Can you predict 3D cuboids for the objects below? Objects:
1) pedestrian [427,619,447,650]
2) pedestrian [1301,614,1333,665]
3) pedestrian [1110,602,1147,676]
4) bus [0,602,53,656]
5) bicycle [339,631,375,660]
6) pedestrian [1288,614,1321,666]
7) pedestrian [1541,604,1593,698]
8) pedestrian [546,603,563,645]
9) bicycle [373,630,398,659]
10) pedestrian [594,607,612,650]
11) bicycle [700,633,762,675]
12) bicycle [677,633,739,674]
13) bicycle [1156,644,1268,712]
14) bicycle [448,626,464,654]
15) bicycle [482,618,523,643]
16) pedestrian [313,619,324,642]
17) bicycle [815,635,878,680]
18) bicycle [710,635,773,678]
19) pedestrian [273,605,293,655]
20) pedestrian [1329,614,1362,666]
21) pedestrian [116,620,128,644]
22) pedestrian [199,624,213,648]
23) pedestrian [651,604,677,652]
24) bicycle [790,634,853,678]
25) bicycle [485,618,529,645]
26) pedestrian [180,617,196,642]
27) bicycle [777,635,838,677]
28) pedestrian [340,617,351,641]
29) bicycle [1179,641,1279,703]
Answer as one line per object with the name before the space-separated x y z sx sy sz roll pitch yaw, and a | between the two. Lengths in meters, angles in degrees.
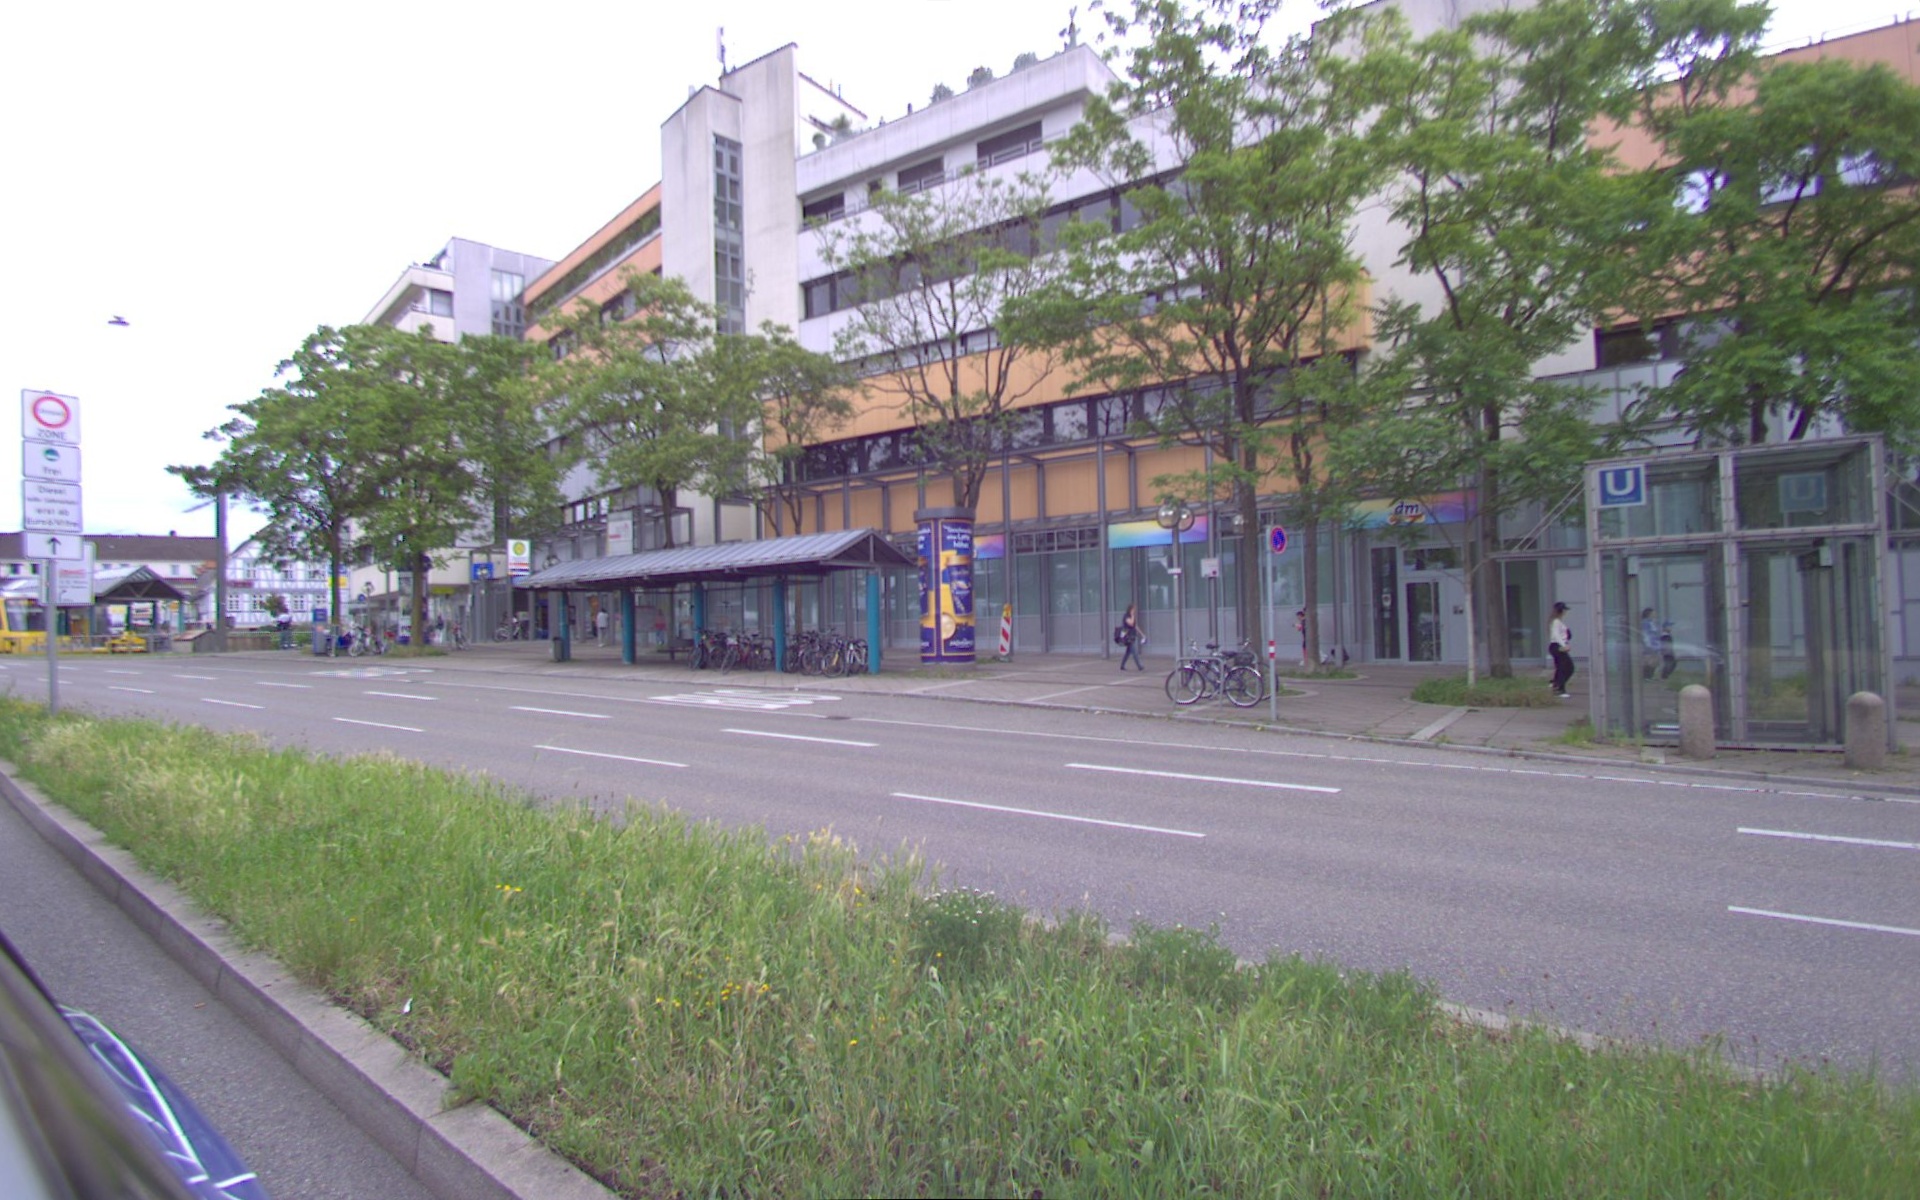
pedestrian | -28.955 1.885 56.053 0.752 1.695 0.755 -1 -2 41
pedestrian | 9.764 1.067 27.695 0.694 1.385 0.578 -1 -2 34
pedestrian | 4.201 0.964 25.291 0.769 1.800 0.525 -1 -2 33
bus | -55.993 1.680 58.611 8.470 3.006 2.530 -1 -2 29
bicycle | -23.624 1.762 39.650 0.585 1.085 2.042 0 -1 -12
pedestrian | 9.262 1.074 27.226 0.694 1.385 0.578 -1 -2 34
pedestrian | 11.083 0.913 18.487 0.721 1.662 0.669 -1 -1 37
pedestrian | -19.665 1.144 49.033 0.558 2.029 0.611 1 -2 -44
bicycle | -22.757 1.749 40.108 0.584 1.085 2.044 0 -1 -21
pedestrian | -15.483 1.238 43.906 0.639 1.823 0.761 0 -2 -16
bicycle | -6.464 1.508 28.584 0.549 1.048 1.714 -2 1 38
bicycle | -7.242 1.531 29.149 0.549 1.048 1.714 -2 0 38
bicycle | 4.360 1.321 17.600 0.802 1.068 1.739 0 -1 -40
bicycle | -21.362 1.703 42.928 0.584 1.134 2.044 1 -1 -26
bicycle | -26.108 1.730 57.765 2.106 1.377 0.621 -1 0 -24
pedestrian | -42.662 2.001 67.300 0.548 1.506 0.454 1 -2 -41
bicycle | -2.913 1.470 26.061 0.549 1.048 1.714 -2 0 38
bicycle | -5.969 1.526 27.722 0.549 1.048 1.714 -2 1 38
pedestrian | -31.850 1.412 47.619 0.608 2.325 0.583 -1 -2 39
pedestrian | 10.336 1.060 27.139 0.694 1.385 0.578 -1 -2 34
pedestrian | -70.276 2.676 84.879 0.731 2.029 0.940 1 -2 -39
pedestrian | -50.069 2.387 67.223 0.581 1.554 0.570 -1 -2 32
pedestrian | -12.547 1.172 42.850 0.793 2.029 0.702 -1 0 36
bicycle | -3.622 1.454 26.594 0.549 1.048 1.714 -2 0 38
bicycle | -24.959 1.720 55.787 2.107 1.385 0.621 -1 0 -31
pedestrian | -62.600 2.376 82.037 0.867 2.029 1.010 1 -2 -44
bicycle | -4.147 1.511 27.561 0.549 1.048 1.714 -2 -1 38
pedestrian | -31.039 1.461 51.086 0.368 1.188 0.338 -1 -2 31
bicycle | 4.976 1.309 18.791 1.737 1.074 0.542 -2 -1 45
